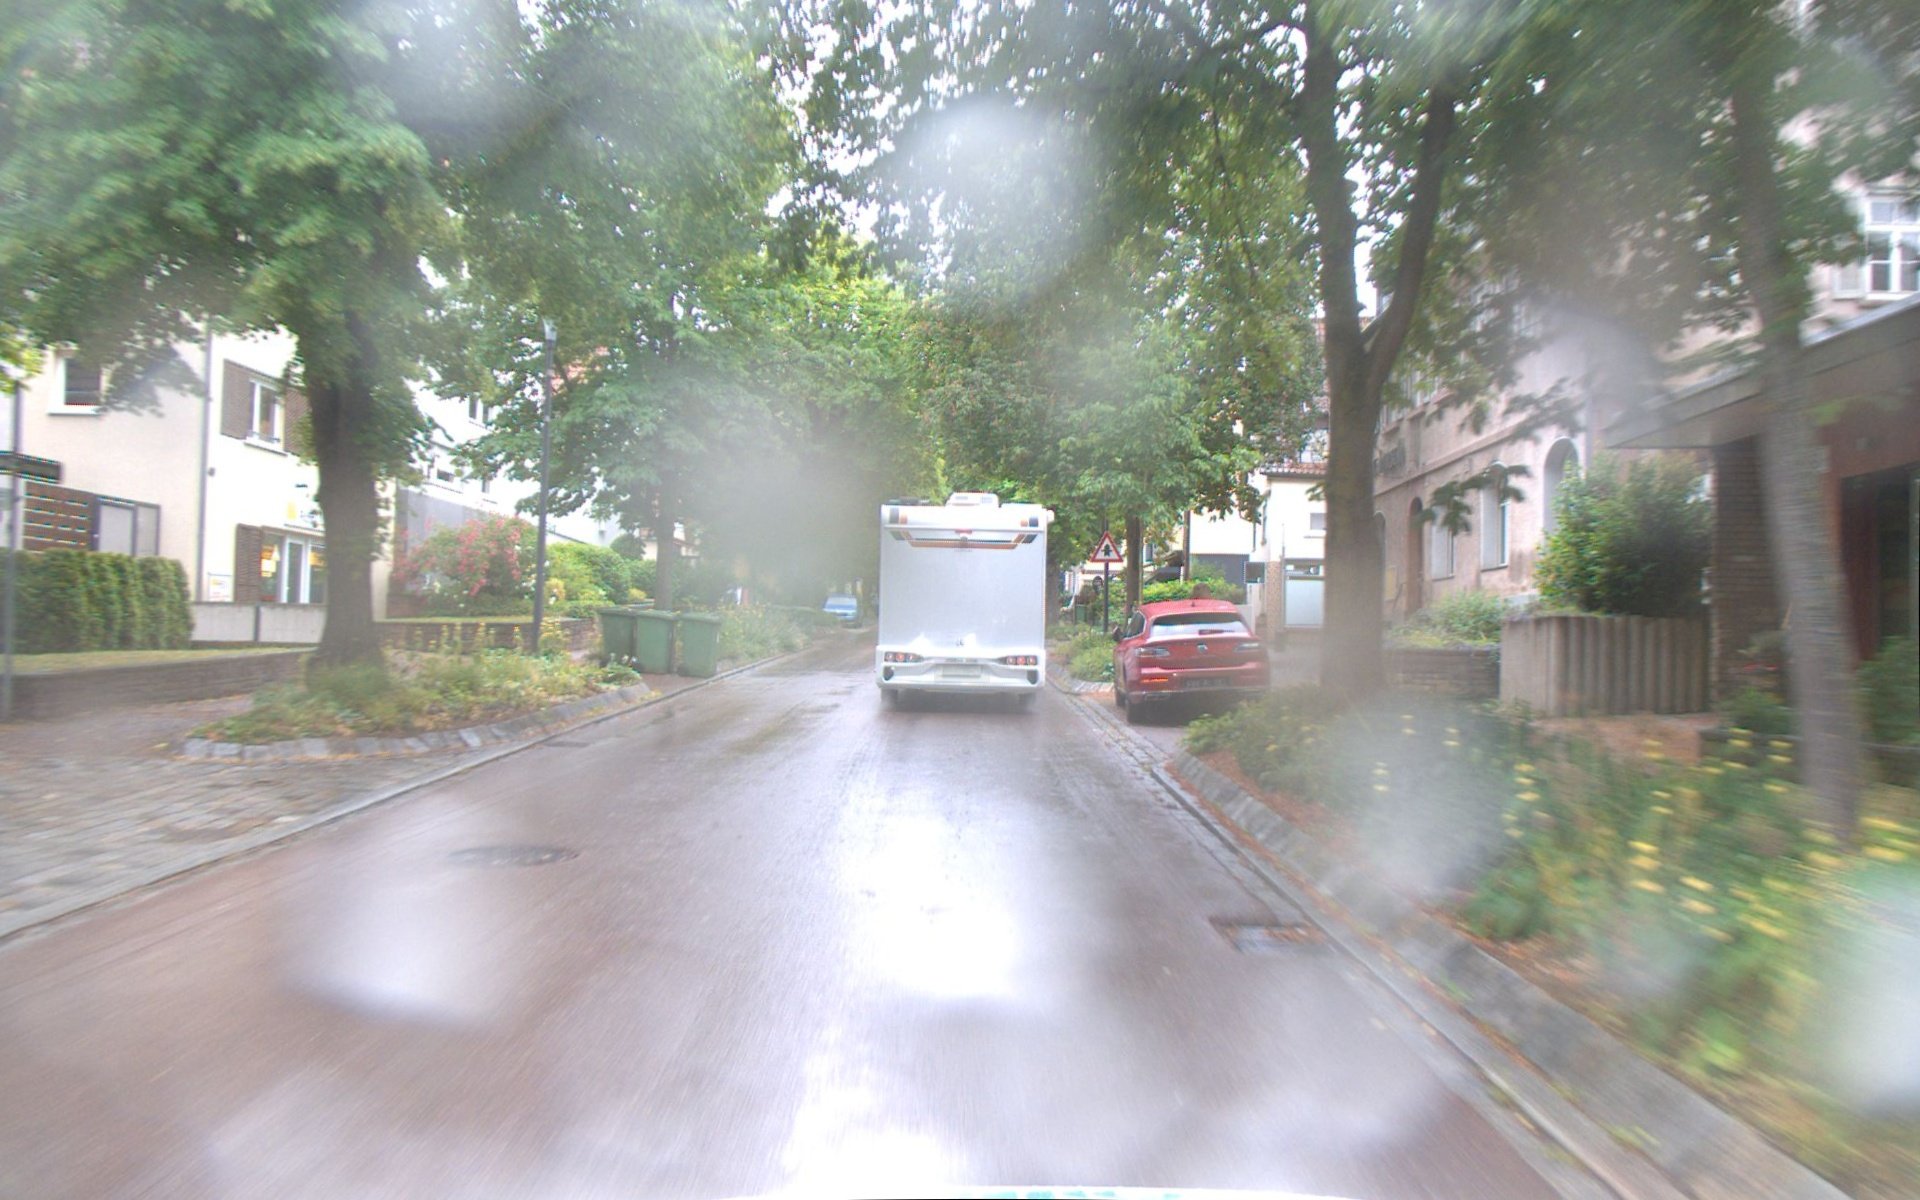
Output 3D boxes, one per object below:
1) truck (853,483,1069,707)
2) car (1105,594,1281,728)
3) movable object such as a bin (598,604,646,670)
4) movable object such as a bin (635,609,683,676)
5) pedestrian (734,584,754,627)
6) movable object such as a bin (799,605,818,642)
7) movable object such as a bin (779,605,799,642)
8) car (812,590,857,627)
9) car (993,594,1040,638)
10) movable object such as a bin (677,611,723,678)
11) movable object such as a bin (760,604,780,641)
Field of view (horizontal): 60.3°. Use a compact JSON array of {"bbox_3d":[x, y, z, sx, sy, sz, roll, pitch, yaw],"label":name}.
[{"bbox_3d":[-0.026,-0.027,24.115,2.749,2.846,6.105,0,-1,-1],"label":"truck"},{"bbox_3d":[2.956,0.714,21.815,1.817,1.497,4.366,2,1,2],"label":"car"},{"bbox_3d":[-5.920,0.641,28.977,0.656,1.124,0.817,1,-1,-1],"label":"movable object such as a bin"},{"bbox_3d":[-5.162,0.729,28.390,0.656,1.124,0.817,1,-1,-1],"label":"movable object such as a bin"},{"bbox_3d":[-9.387,0.236,71.947,0.800,1.876,0.770,0,-1,-1],"label":"pedestrian"},{"bbox_3d":[-4.498,0.692,49.075,0.517,1.077,0.562,0,-1,0],"label":"movable object such as a bin"},{"bbox_3d":[-5.059,0.692,49.018,0.517,1.077,0.562,0,-1,0],"label":"movable object such as a bin"},{"bbox_3d":[-5.634,0.394,73.890,1.764,1.579,3.992,0,-1,-8],"label":"car"},{"bbox_3d":[2.085,0.598,61.608,1.615,1.569,3.530,0,-1,0],"label":"car"},{"bbox_3d":[-4.455,0.757,28.389,0.656,1.114,0.817,1,-1,-1],"label":"movable object such as a bin"},{"bbox_3d":[-5.633,0.665,49.003,0.517,1.077,0.562,0,-1,0],"label":"movable object such as a bin"}]
